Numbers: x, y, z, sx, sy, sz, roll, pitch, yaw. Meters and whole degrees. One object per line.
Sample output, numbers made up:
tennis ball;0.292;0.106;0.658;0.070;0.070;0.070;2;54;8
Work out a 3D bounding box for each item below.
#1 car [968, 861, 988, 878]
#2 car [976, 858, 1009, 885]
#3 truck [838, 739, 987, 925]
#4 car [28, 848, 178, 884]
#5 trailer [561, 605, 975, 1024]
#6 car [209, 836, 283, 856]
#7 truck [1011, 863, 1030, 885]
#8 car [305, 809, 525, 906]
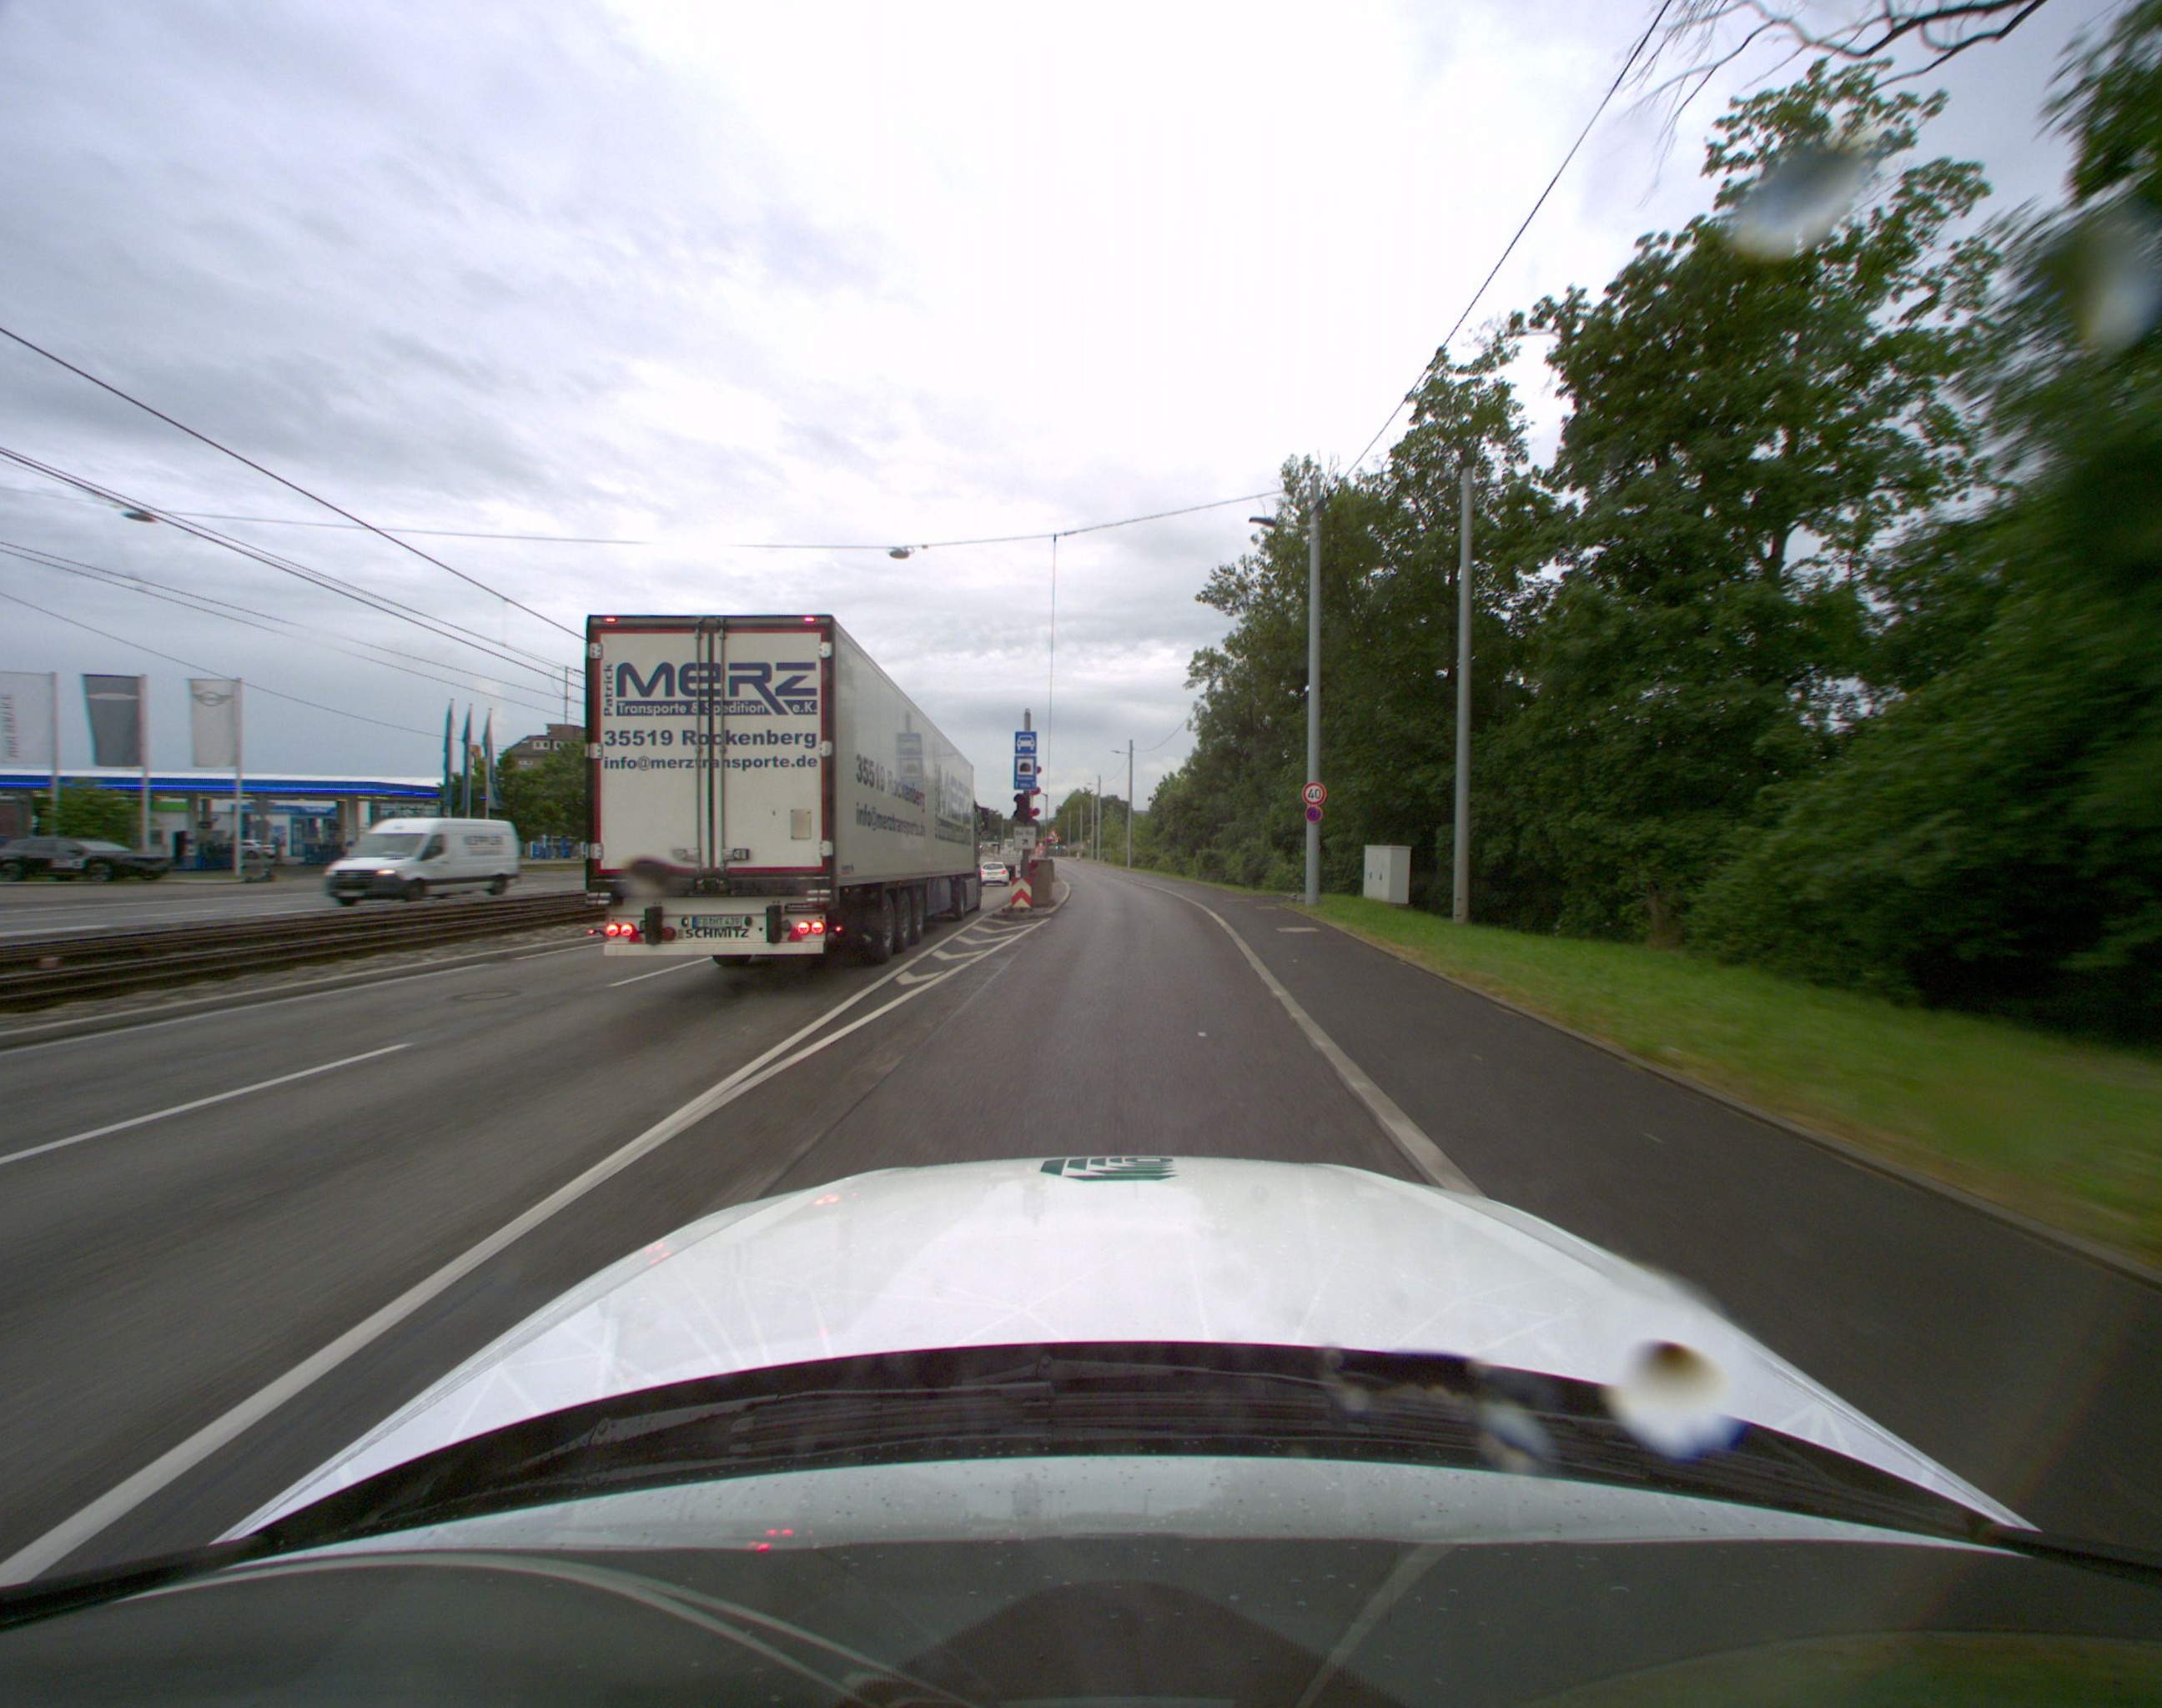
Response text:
car;-10.142;1.497;80.467;1.678;1.446;3.996;-1;2;-4
car;-5.342;1.040;49.801;1.806;1.423;3.996;-1;2;-4
truck;-4.216;-0.533;21.746;2.749;4.204;6.302;-1;0;-2
car;-36.763;0.439;30.676;3.504;1.274;1.716;0;0;0
trailer;-4.052;-0.477;14.942;2.755;4.252;13.175;-1;0;-2
car;-67.766;-0.648;66.165;3.976;1.640;1.856;0;0;-2
truck;-11.813;3.852;160.378;3.511;4.039;8.064;-1;0;-3
car;-20.130;0.090;25.142;2.047;2.598;6.156;0;0;-4
